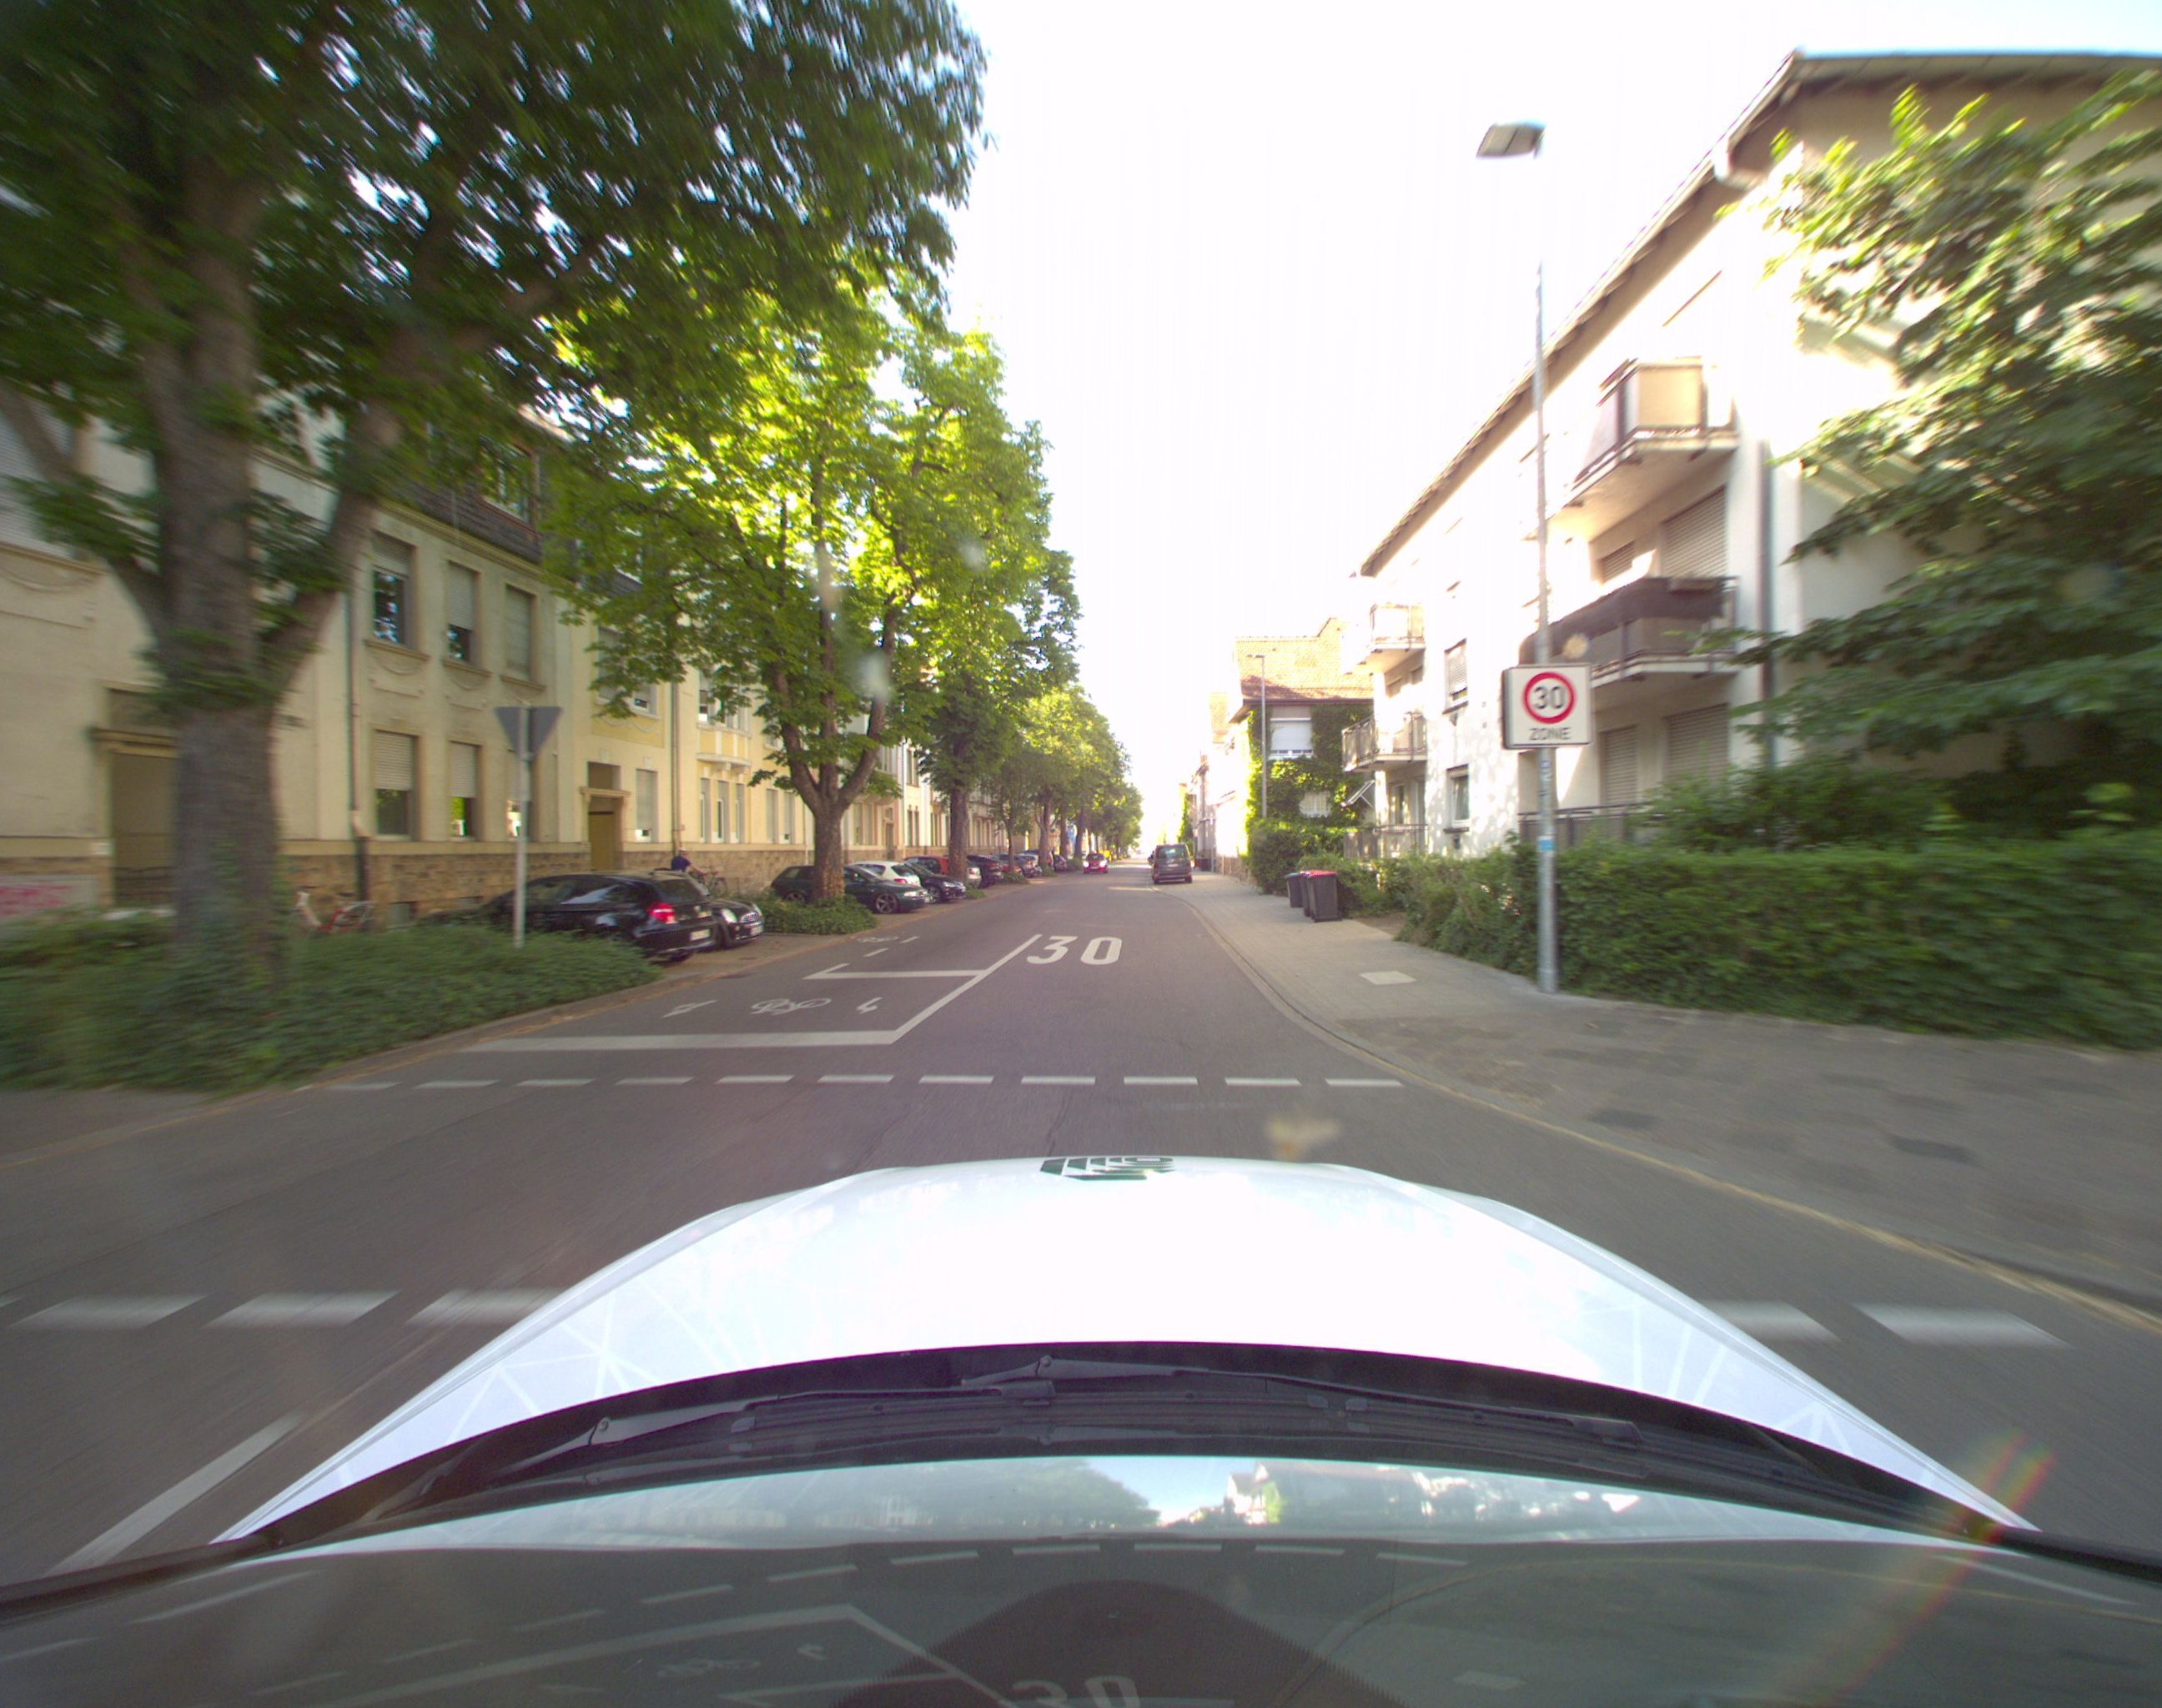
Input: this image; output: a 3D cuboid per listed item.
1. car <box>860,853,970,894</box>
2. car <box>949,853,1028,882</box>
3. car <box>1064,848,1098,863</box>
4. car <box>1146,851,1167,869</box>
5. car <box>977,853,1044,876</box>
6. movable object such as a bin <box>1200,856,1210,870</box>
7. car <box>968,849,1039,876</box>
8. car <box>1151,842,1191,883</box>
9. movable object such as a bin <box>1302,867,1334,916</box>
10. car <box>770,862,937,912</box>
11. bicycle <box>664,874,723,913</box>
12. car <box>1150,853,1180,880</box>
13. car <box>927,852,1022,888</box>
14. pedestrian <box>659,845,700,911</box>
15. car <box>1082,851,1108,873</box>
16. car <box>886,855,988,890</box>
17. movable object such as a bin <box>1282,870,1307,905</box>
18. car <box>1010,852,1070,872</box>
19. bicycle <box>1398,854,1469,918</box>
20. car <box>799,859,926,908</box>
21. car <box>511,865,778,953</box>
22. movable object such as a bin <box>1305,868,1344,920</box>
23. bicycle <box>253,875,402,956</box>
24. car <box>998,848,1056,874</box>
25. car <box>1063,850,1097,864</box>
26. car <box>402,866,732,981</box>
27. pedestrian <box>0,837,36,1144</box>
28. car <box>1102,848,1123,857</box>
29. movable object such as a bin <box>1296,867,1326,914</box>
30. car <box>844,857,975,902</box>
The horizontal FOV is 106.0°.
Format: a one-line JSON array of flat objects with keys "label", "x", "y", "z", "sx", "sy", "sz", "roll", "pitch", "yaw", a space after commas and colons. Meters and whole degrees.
[{"label": "car", "x": -6.665, "y": 0.772, "z": 32.926, "sx": 3.967, "sy": 1.508, "sz": 1.725, "roll": -2, "pitch": 0, "yaw": 5}, {"label": "car", "x": -4.969, "y": 0.725, "z": 44.006, "sx": 3.969, "sy": 1.514, "sz": 1.749, "roll": 0, "pitch": -1, "yaw": 4}, {"label": "car", "x": 0.011, "y": 0.188, "z": 98.389, "sx": 3.973, "sy": 1.761, "sz": 1.798, "roll": 1, "pitch": 0, "yaw": 1}, {"label": "car", "x": 7.050, "y": 0.574, "z": 76.182, "sx": 1.692, "sy": 1.539, "sz": 4.159, "roll": -3, "pitch": 0, "yaw": 3}, {"label": "car", "x": -4.437, "y": 0.659, "z": 51.836, "sx": 3.879, "sy": 1.446, "sz": 1.864, "roll": 0, "pitch": 0, "yaw": 9}, {"label": "movable object such as a bin", "x": 9.395, "y": 0.699, "z": 61.875, "sx": 0.645, "sy": 1.039, "sz": 0.829, "roll": -2, "pitch": 0, "yaw": 2}, {"label": "car", "x": -4.654, "y": 0.508, "z": 49.256, "sx": 3.969, "sy": 1.592, "sz": 1.861, "roll": 0, "pitch": 0, "yaw": 4}, {"label": "car", "x": 4.529, "y": 0.398, "z": 41.428, "sx": 1.856, "sy": 1.916, "sz": 4.789, "roll": 0, "pitch": 0, "yaw": 5}, {"label": "movable object such as a bin", "x": 5.382, "y": 0.839, "z": 18.516, "sx": 0.481, "sy": 1.044, "sz": 0.657, "roll": -4, "pitch": 0, "yaw": 2}, {"label": "car", "x": -6.356, "y": 0.913, "z": 23.051, "sx": 4.193, "sy": 1.349, "sz": 1.705, "roll": 0, "pitch": -1, "yaw": 4}, {"label": "bicycle", "x": -9.843, "y": 0.983, "z": 20.735, "sx": 0.468, "sy": 0.912, "sz": 1.602, "roll": -1, "pitch": 0, "yaw": 12}, {"label": "car", "x": 5.443, "y": 0.768, "z": 52.861, "sx": 1.780, "sy": 1.600, "sz": 4.006, "roll": -3, "pitch": 0, "yaw": 6}, {"label": "car", "x": -4.874, "y": 0.710, "z": 37.503, "sx": 3.967, "sy": 1.566, "sz": 1.866, "roll": 0, "pitch": 0, "yaw": 5}, {"label": "pedestrian", "x": -10.293, "y": 0.613, "z": 20.915, "sx": 0.457, "sy": 1.658, "sz": 0.898, "roll": -1, "pitch": 0, "yaw": 13}, {"label": "car", "x": 1.058, "y": 0.549, "z": 60.350, "sx": 1.634, "sy": 1.508, "sz": 3.707, "roll": -2, "pitch": 0, "yaw": 4}, {"label": "car", "x": -6.185, "y": 0.773, "z": 35.197, "sx": 3.967, "sy": 1.403, "sz": 1.833, "roll": 0, "pitch": 0, "yaw": 5}, {"label": "movable object such as a bin", "x": 5.870, "y": 0.915, "z": 22.409, "sx": 0.500, "sy": 0.915, "sz": 0.574, "roll": -4, "pitch": 0, "yaw": 6}, {"label": "car", "x": -3.190, "y": 0.636, "z": 63.697, "sx": 4.513, "sy": 1.503, "sz": 1.893, "roll": 0, "pitch": 0, "yaw": 3}, {"label": "bicycle", "x": 7.295, "y": 0.637, "z": 16.815, "sx": 1.587, "sy": 1.186, "sz": 0.636, "roll": -4, "pitch": 1, "yaw": -40}, {"label": "car", "x": -6.776, "y": 0.898, "z": 25.410, "sx": 3.415, "sy": 1.452, "sz": 1.706, "roll": 0, "pitch": -1, "yaw": 6}, {"label": "car", "x": -7.684, "y": 0.937, "z": 14.605, "sx": 3.872, "sy": 1.415, "sz": 1.614, "roll": -1, "pitch": 0, "yaw": -2}, {"label": "movable object such as a bin", "x": 5.270, "y": 0.852, "z": 17.645, "sx": 0.594, "sy": 1.044, "sz": 0.708, "roll": -4, "pitch": 0, "yaw": 2}, {"label": "bicycle", "x": -12.442, "y": 0.970, "z": 13.542, "sx": 0.511, "sy": 1.154, "sz": 1.985, "roll": 1, "pitch": 1, "yaw": 5}, {"label": "car", "x": -3.898, "y": 0.516, "z": 58.927, "sx": 3.962, "sy": 1.855, "sz": 1.830, "roll": 0, "pitch": 0, "yaw": 3}, {"label": "car", "x": -0.117, "y": 0.371, "z": 96.263, "sx": 3.973, "sy": 1.464, "sz": 1.798, "roll": 1, "pitch": -1, "yaw": 1}, {"label": "car", "x": -7.464, "y": 0.985, "z": 12.042, "sx": 3.865, "sy": 1.476, "sz": 1.617, "roll": -2, "pitch": 0, "yaw": 4}, {"label": "pedestrian", "x": -6.322, "y": 0.756, "z": 4.346, "sx": 0.688, "sy": 1.682, "sz": 0.683, "roll": -1, "pitch": 0, "yaw": 15}, {"label": "car", "x": 6.555, "y": -0.316, "z": 169.432, "sx": 3.985, "sy": 1.841, "sz": 2.004, "roll": 1, "pitch": 1, "yaw": 7}, {"label": "movable object such as a bin", "x": 5.423, "y": 0.847, "z": 19.201, "sx": 0.481, "sy": 1.044, "sz": 0.619, "roll": -4, "pitch": 0, "yaw": 2}, {"label": "car", "x": -5.783, "y": 0.832, "z": 27.740, "sx": 3.967, "sy": 1.482, "sz": 1.788, "roll": 0, "pitch": 0, "yaw": 5}]
